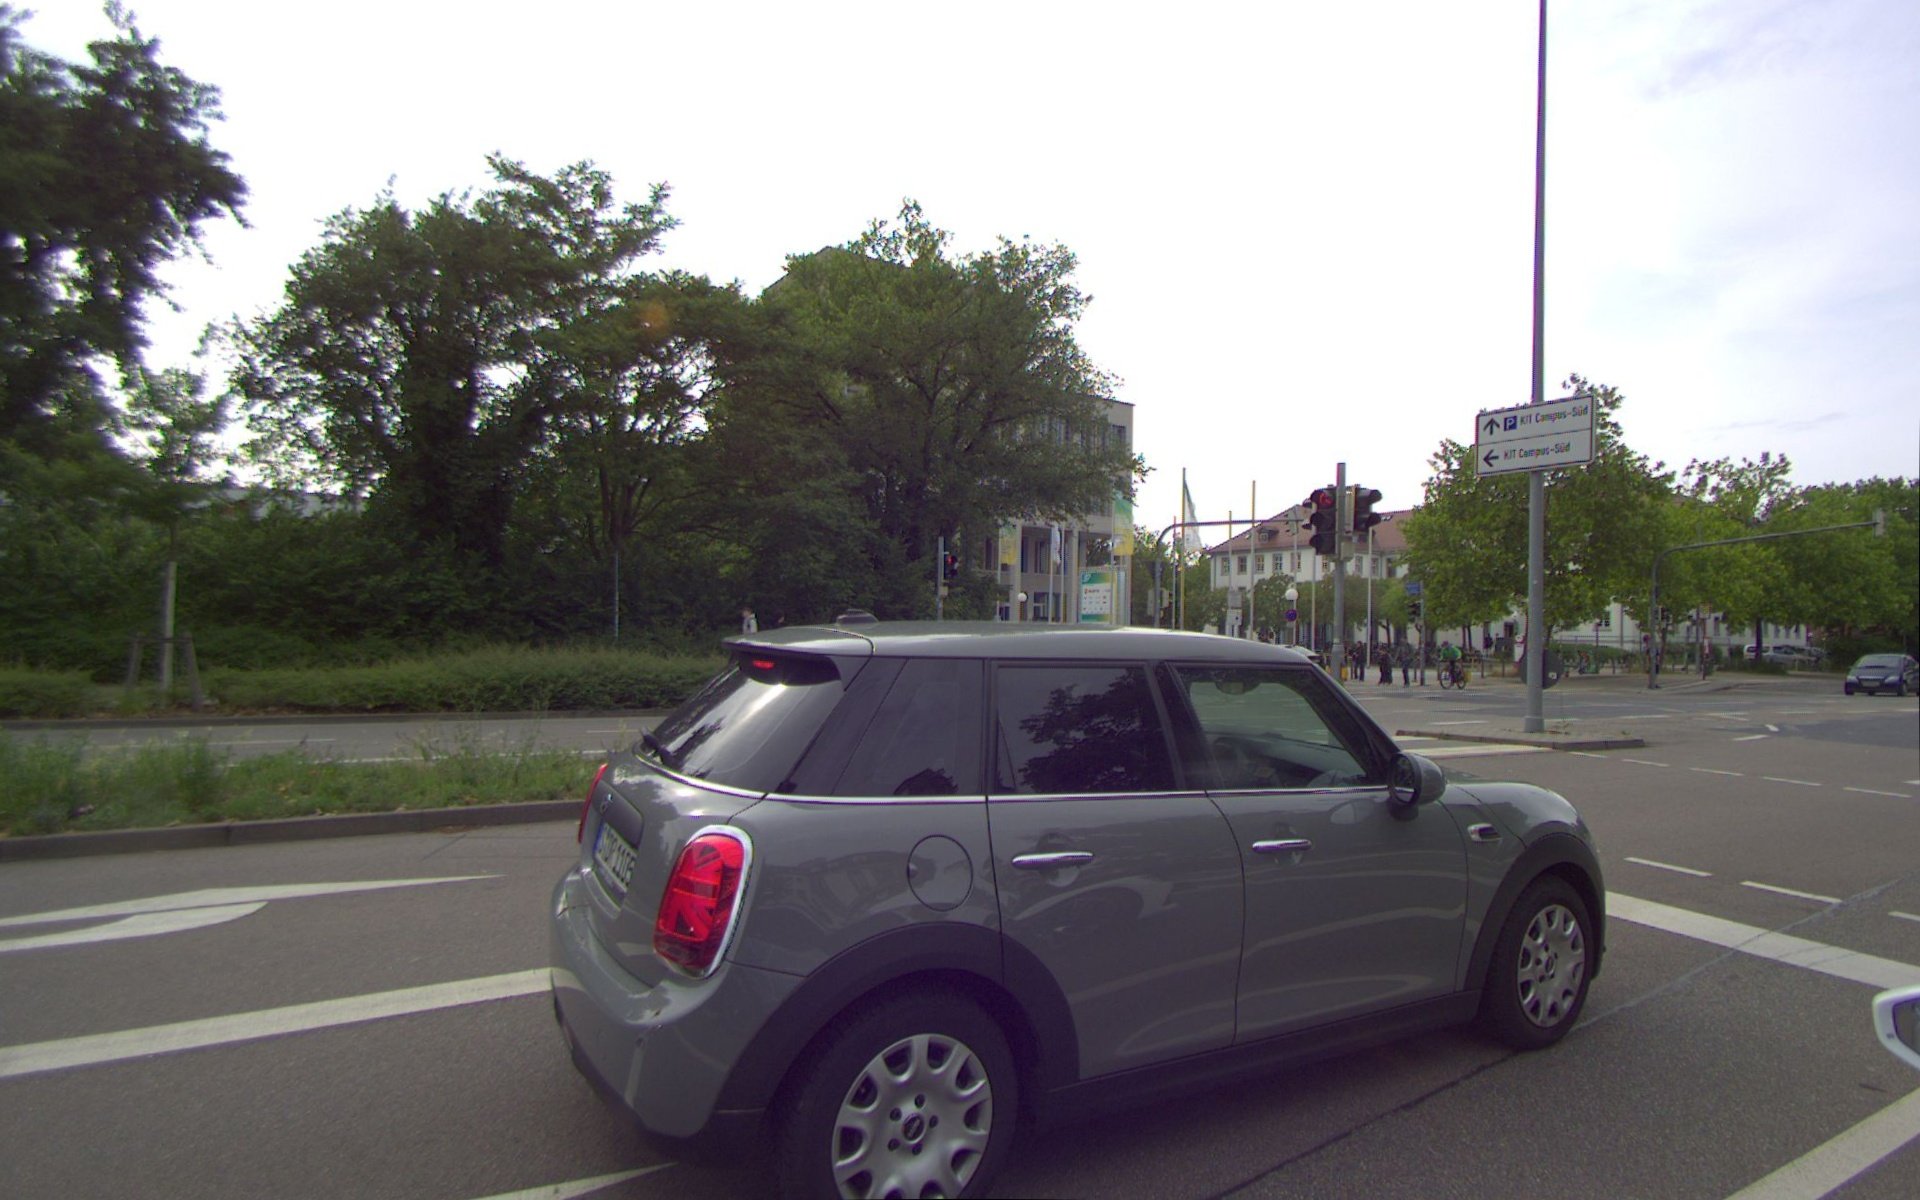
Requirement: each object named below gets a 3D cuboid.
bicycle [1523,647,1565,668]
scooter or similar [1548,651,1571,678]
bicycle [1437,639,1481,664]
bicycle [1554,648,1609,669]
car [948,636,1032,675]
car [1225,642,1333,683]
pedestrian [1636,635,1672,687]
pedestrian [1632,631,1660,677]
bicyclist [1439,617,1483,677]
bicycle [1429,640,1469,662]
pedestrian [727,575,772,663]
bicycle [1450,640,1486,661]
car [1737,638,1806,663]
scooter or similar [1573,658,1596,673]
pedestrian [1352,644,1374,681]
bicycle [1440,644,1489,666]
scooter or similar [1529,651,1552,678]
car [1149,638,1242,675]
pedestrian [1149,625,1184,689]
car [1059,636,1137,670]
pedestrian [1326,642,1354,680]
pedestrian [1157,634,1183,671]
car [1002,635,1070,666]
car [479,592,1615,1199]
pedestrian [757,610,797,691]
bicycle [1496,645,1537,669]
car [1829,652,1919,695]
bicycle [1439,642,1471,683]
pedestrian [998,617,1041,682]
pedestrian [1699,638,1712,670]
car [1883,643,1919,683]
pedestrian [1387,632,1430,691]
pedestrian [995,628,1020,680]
[{"bbox_3d":[33.427,3.299,57.488,2.005,1.168,0.718,-1,-3,39],"label":"bicycle"},{"bbox_3d":[26.505,2.851,44.416,1.306,1.155,0.358,2,-2,-34],"label":"scooter or similar"},{"bbox_3d":[32.483,3.341,65.397,0.916,1.579,2.421,3,-3,-43],"label":"bicycle"},{"bbox_3d":[37.496,3.498,60.651,0.715,1.190,2.726,2,-3,-37],"label":"bicycle"},{"bbox_3d":[1.231,2.321,42.439,1.844,1.469,3.562,2,-1,-34],"label":"car"},{"bbox_3d":[13.946,2.711,44.123,1.982,1.491,4.111,2,0,-37],"label":"car"},{"bbox_3d":[27.699,2.431,40.109,1.000,2.040,0.888,2,-2,-36],"label":"pedestrian"},{"bbox_3d":[31.528,2.467,46.156,0.919,2.040,0.795,2,0,-40],"label":"pedestrian"},{"bbox_3d":[17.798,1.639,35.670,1.165,2.040,1.277,2,0,37],"label":"bicyclist"},{"bbox_3d":[36.787,3.815,75.641,0.907,1.579,3.079,1,-2,-16],"label":"bicycle"},{"bbox_3d":[-5.003,0.466,23.867,0.811,2.040,0.904,2,-3,-26],"label":"pedestrian"},{"bbox_3d":[38.525,3.823,76.215,0.907,1.579,2.658,1,-2,-16],"label":"bicycle"},{"bbox_3d":[58.457,3.619,72.370,1.636,1.623,3.561,2,0,-35],"label":"car"},{"bbox_3d":[30.379,3.168,48.849,1.274,0.703,0.404,2,0,-31],"label":"scooter or similar"},{"bbox_3d":[16.395,2.533,40.863,0.687,1.447,0.999,2,0,28],"label":"pedestrian"},{"bbox_3d":[32.181,3.486,64.075,0.715,1.347,2.797,2,-3,-37],"label":"bicycle"},{"bbox_3d":[25.167,2.798,43.533,1.306,1.155,0.358,2,-2,-34],"label":"scooter or similar"},{"bbox_3d":[11.204,2.679,48.030,1.982,1.491,3.958,2,0,-37],"label":"car"},{"bbox_3d":[6.887,1.880,33.502,0.844,2.086,0.662,-1,0,-34],"label":"pedestrian"},{"bbox_3d":[7.331,2.824,53.835,1.980,1.601,3.961,2,0,-34],"label":"car"},{"bbox_3d":[15.747,2.514,41.569,0.812,1.533,0.971,2,0,37],"label":"pedestrian"},{"bbox_3d":[11.895,2.966,56.916,1.007,2.040,0.996,2,-2,-34],"label":"pedestrian"},{"bbox_3d":[4.361,2.891,58.058,1.835,1.706,3.961,2,-2,-35],"label":"car"},{"bbox_3d":[0.438,0.732,3.474,3.662,1.335,1.613,2,-2,-30],"label":"car"},{"bbox_3d":[-3.959,1.083,21.766,0.645,1.717,0.586,2,0,-31],"label":"pedestrian"},{"bbox_3d":[37.918,3.870,68.427,0.715,1.615,2.382,2,-2,-37],"label":"bicycle"},{"bbox_3d":[34.738,2.747,37.926,3.654,1.483,1.844,2,-2,-30],"label":"car"},{"bbox_3d":[17.702,2.207,35.893,0.597,1.351,2.303,2,0,37],"label":"bicycle"},{"bbox_3d":[1.946,1.582,32.750,1.022,2.040,1.099,2,0,25],"label":"pedestrian"},{"bbox_3d":[41.637,2.995,56.097,0.430,1.762,0.415,2,0,-40],"label":"pedestrian"},{"bbox_3d":[40.618,2.631,41.853,3.949,1.641,1.986,2,-2,-28],"label":"car"},{"bbox_3d":[16.404,2.223,36.751,1.165,2.040,1.138,2,0,37],"label":"pedestrian"},{"bbox_3d":[1.495,1.689,31.721,0.598,1.627,0.497,2,-2,-42],"label":"pedestrian"}]
